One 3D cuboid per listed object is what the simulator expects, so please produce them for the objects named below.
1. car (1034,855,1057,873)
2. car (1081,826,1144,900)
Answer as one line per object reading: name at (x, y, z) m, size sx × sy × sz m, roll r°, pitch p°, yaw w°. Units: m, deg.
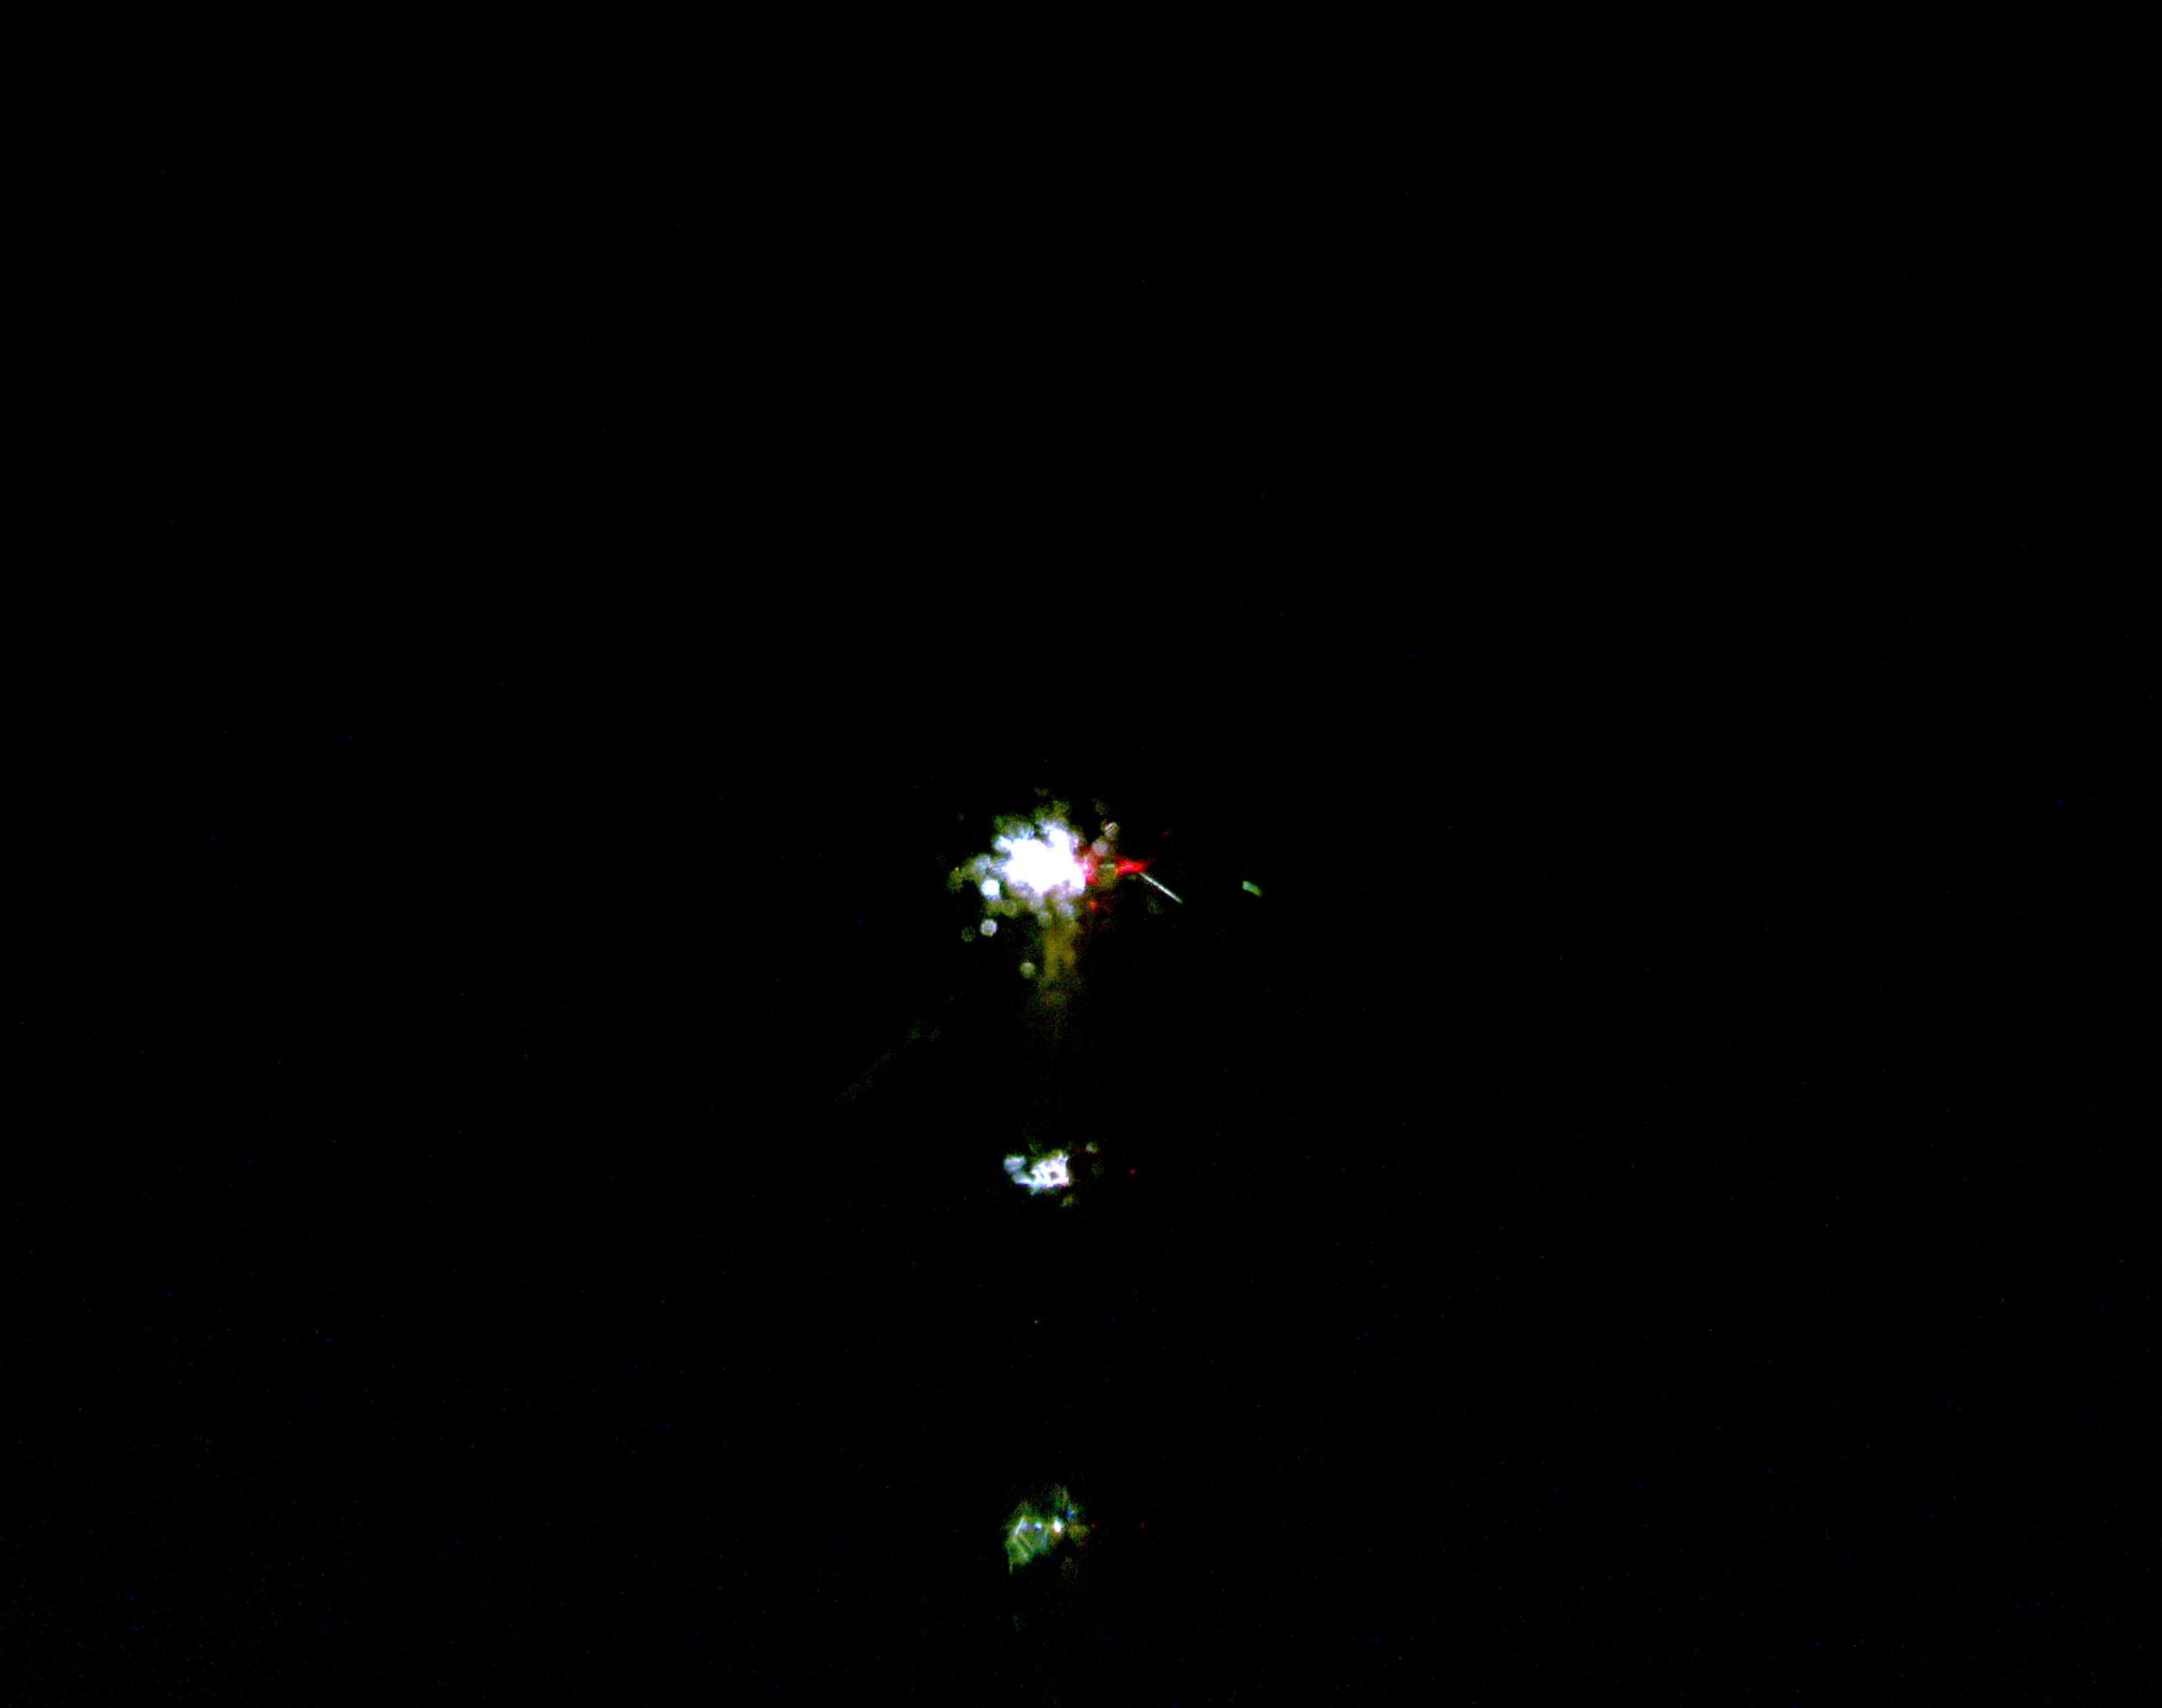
car at (-3.257, 0.889, 75.264) m, size 1.845 × 1.489 × 3.993 m, roll -2°, pitch 0°, yaw 0°
car at (1.152, 0.304, 30.580) m, size 2.173 × 2.557 × 4.509 m, roll 0°, pitch 0°, yaw 2°
